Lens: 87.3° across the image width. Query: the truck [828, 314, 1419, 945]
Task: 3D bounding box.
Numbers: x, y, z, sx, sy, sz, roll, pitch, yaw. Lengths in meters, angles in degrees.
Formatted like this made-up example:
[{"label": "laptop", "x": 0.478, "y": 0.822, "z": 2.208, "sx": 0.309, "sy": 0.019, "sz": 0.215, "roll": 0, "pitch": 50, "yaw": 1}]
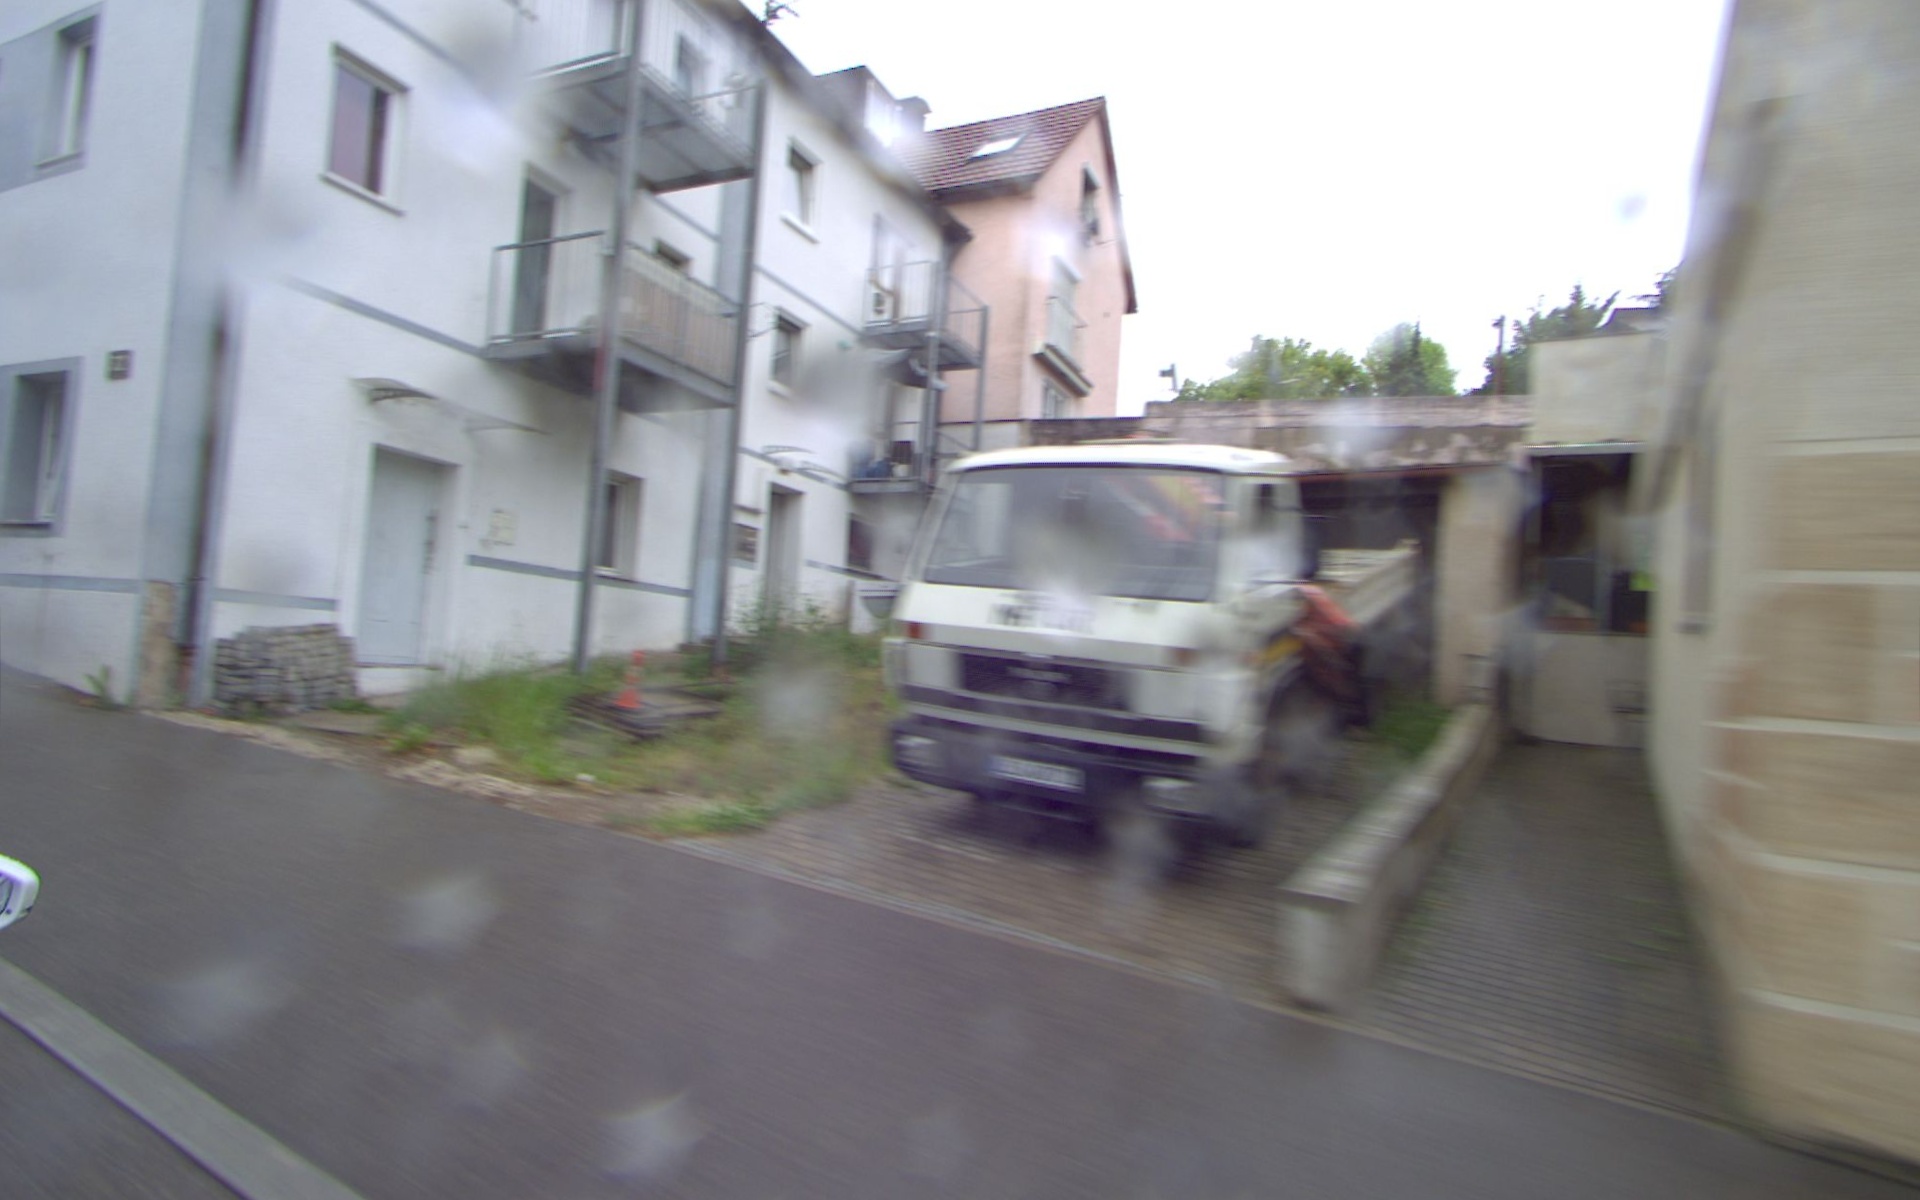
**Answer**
[{"label": "truck", "x": 1.998, "y": 0.061, "z": 7.894, "sx": 2.103, "sy": 2.740, "sz": 6.959, "roll": 8, "pitch": 4, "yaw": 29}]
